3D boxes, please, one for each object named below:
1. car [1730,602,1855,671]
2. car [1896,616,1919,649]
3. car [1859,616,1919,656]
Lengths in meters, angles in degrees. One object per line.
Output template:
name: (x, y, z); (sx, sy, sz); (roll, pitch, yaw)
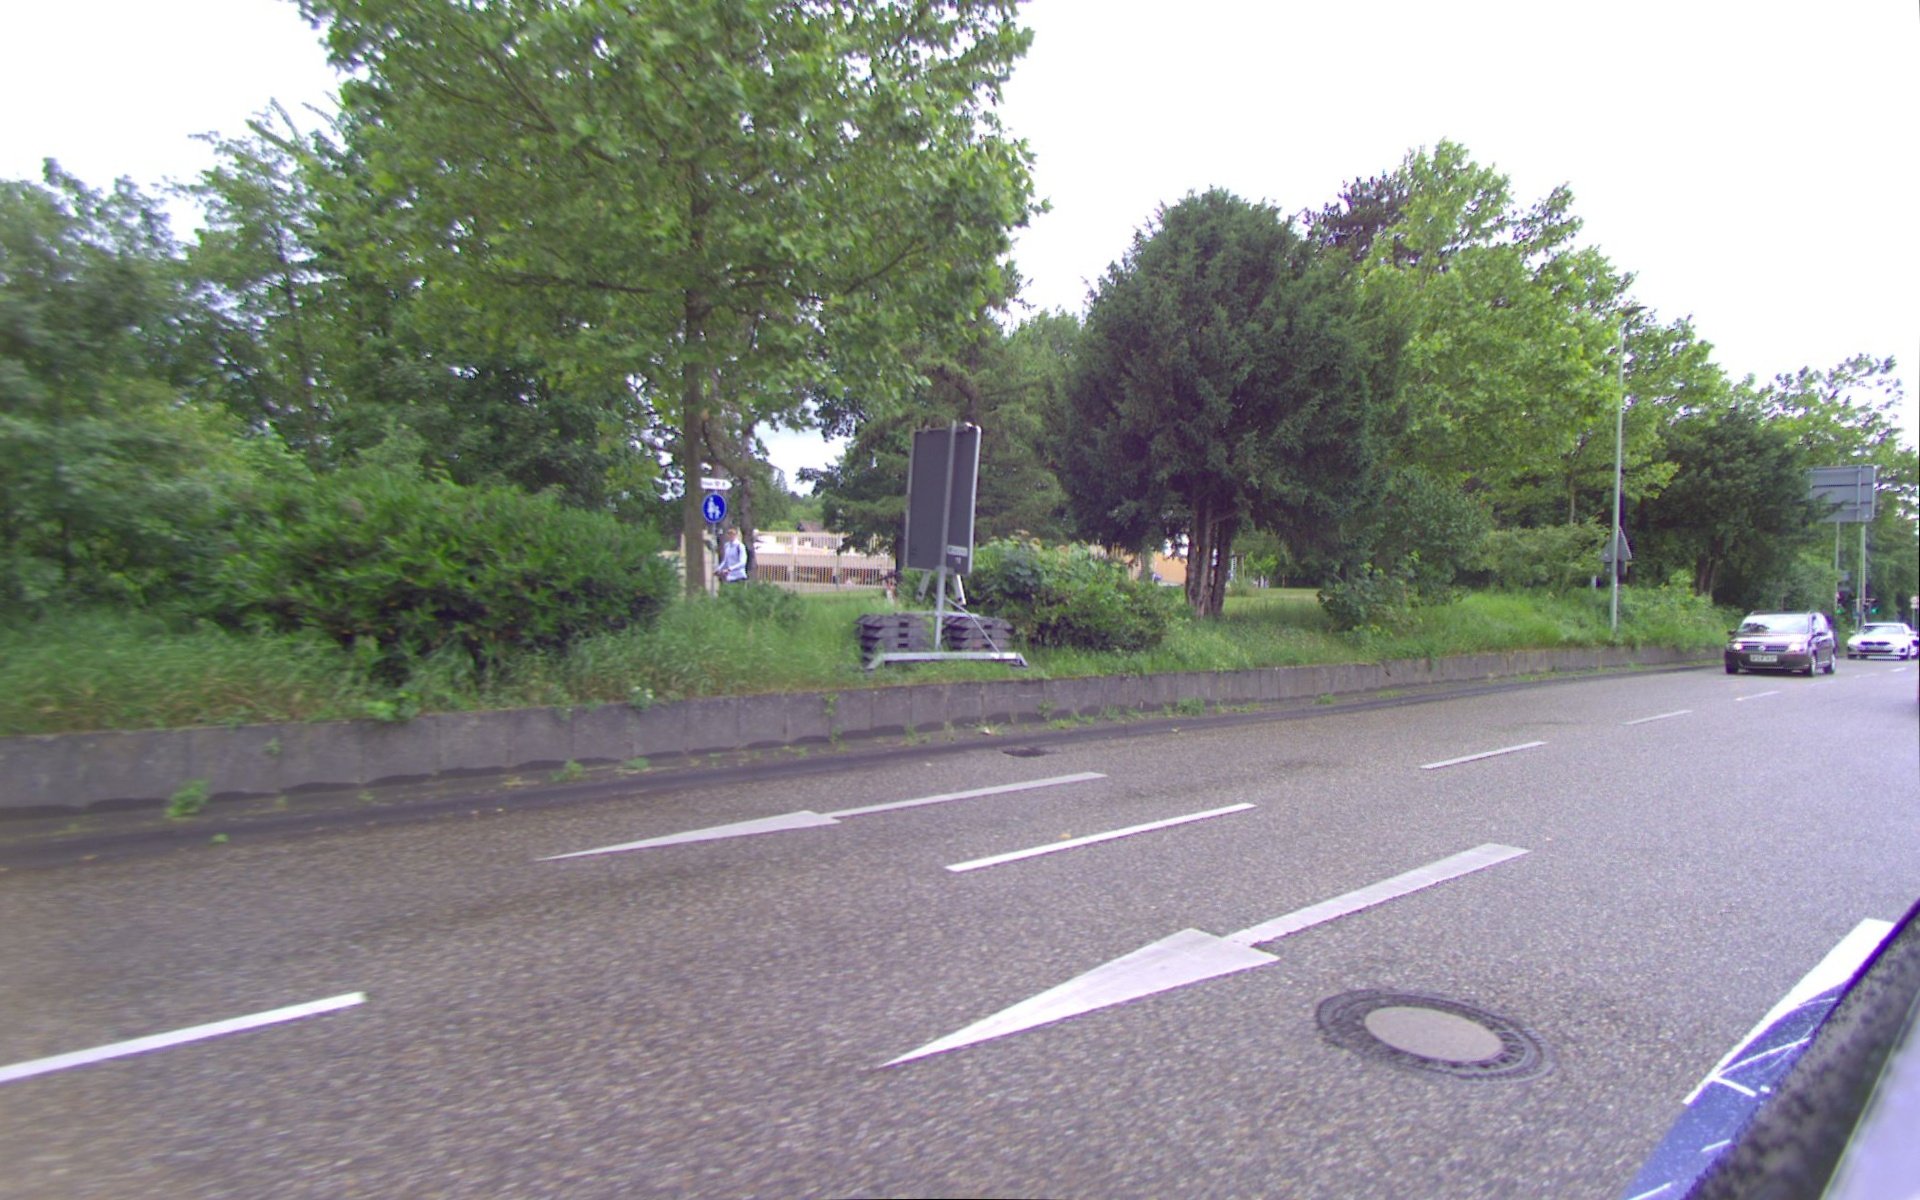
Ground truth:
car: (21.291, 0.927, 25.839); (3.908, 1.630, 1.751); (2, -1, -39)
car: (44.213, 1.509, 46.360); (3.476, 1.475, 1.632); (3, -1, -41)
car: (36.980, 1.419, 39.884); (4.597, 1.475, 1.783); (2, -1, -41)
